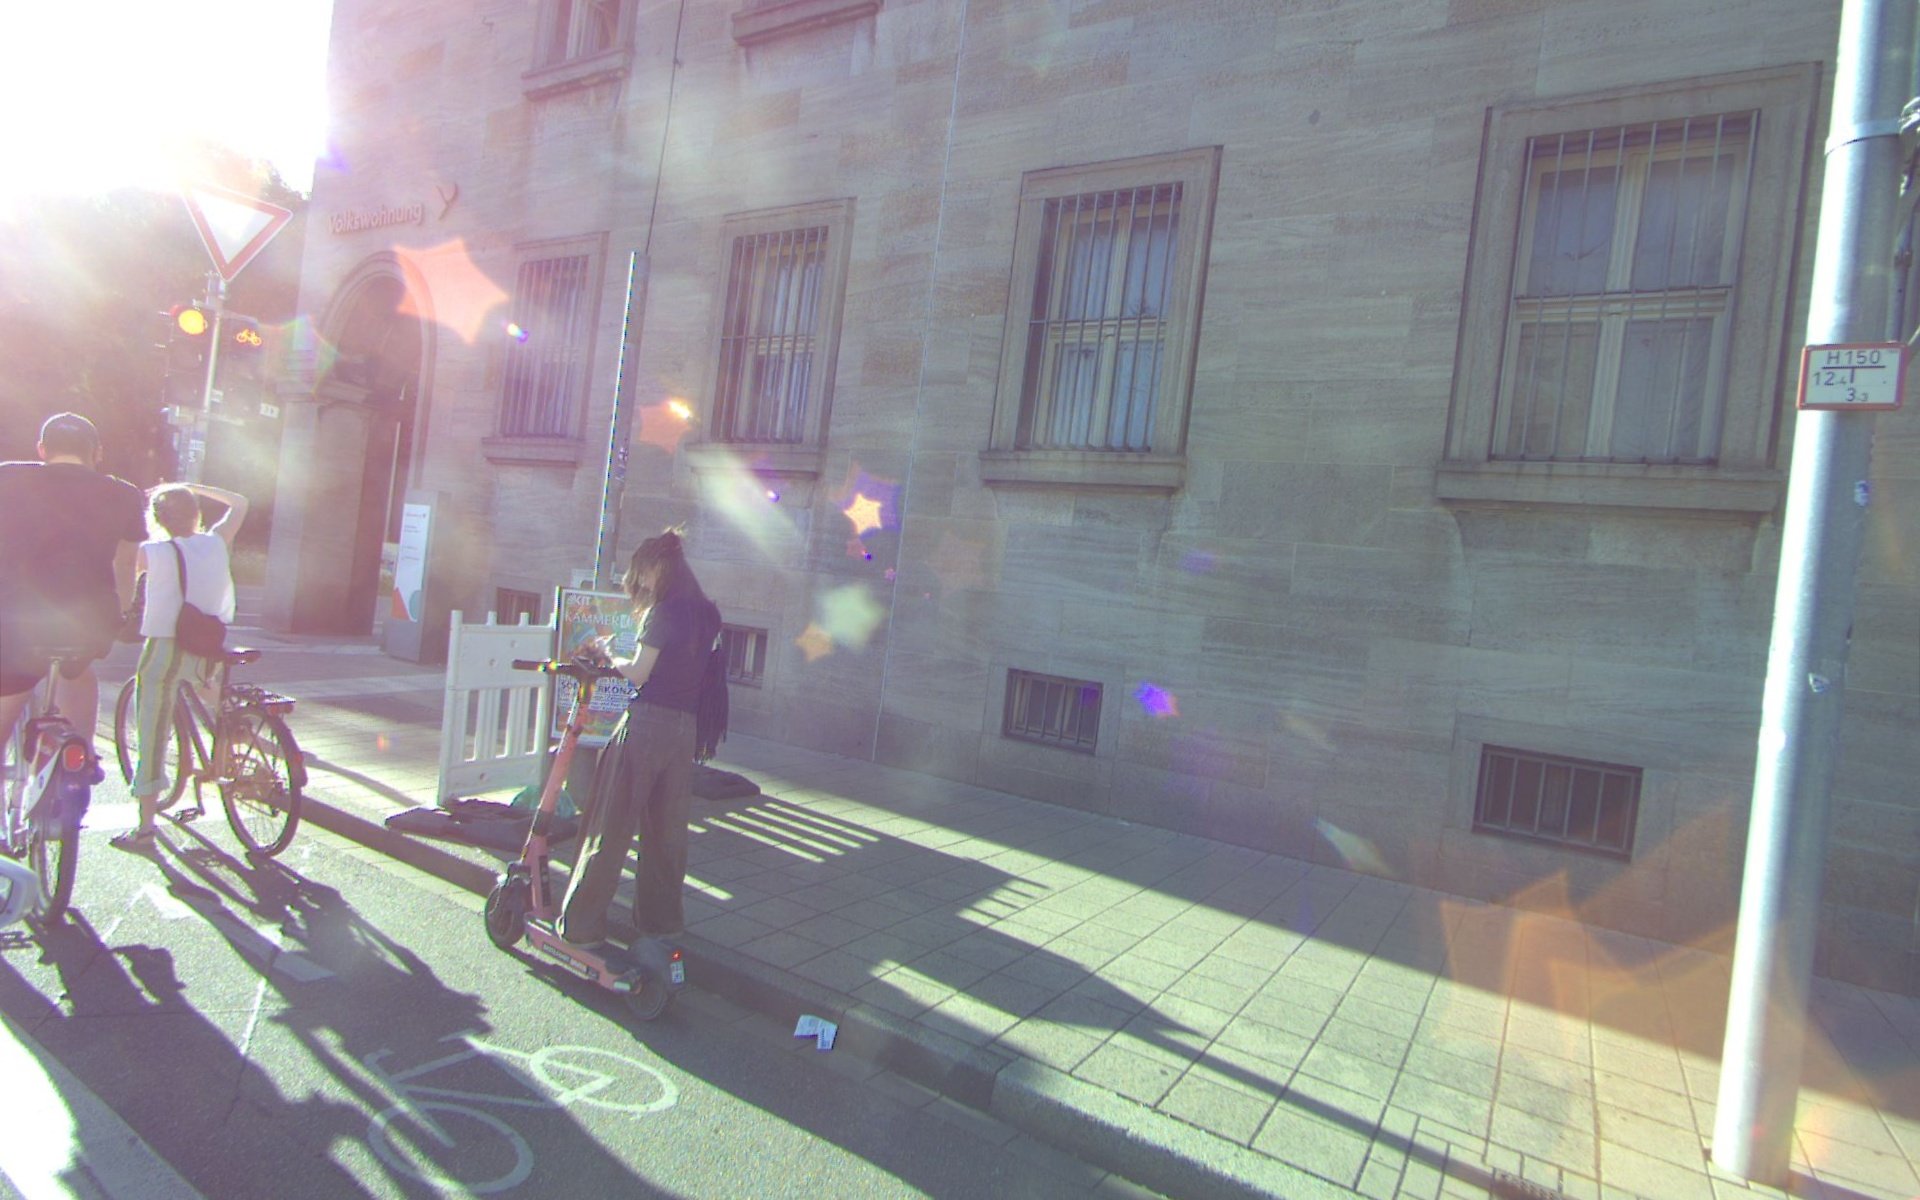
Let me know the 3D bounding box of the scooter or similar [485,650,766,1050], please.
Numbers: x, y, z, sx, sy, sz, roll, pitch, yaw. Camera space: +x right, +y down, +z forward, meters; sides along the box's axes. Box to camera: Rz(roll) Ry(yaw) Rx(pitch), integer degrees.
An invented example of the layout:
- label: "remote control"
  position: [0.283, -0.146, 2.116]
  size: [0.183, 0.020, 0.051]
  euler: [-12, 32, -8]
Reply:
- label: "scooter or similar"
  position: [-1.320, 0.831, 3.829]
  size: [0.569, 1.164, 1.260]
  euler: [5, 0, -37]

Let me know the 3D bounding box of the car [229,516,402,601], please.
- label: "car"
  position: [-20.276, -1.262, 31.804]
  size: [1.968, 2.037, 3.994]
  euler: [6, -2, 33]

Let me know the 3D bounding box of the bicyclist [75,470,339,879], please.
- label: "bicyclist"
  position: [-3.641, 0.315, 4.864]
  size: [0.934, 1.760, 0.584]
  euler: [7, 0, 32]

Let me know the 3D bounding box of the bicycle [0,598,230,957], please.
- label: "bicycle"
  position: [-3.720, 0.591, 3.988]
  size: [1.717, 1.057, 0.624]
  euler: [7, 0, 31]

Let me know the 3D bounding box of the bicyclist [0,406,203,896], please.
- label: "bicyclist"
  position: [-3.656, 0.170, 3.983]
  size: [0.897, 1.736, 0.624]
  euler: [7, 0, 31]

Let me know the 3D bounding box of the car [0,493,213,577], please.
- label: "car"
  position: [-23.477, -1.751, 27.348]
  size: [1.967, 1.533, 4.586]
  euler: [6, -2, 32]

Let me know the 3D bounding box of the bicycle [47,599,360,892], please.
- label: "bicycle"
  position: [-3.709, 0.629, 4.885]
  size: [1.718, 1.057, 0.582]
  euler: [7, 0, 33]

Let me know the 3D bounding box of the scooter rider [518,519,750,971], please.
- label: "scooter rider"
  position: [-1.267, 0.521, 3.886]
  size: [0.541, 1.581, 0.571]
  euler: [7, 0, -35]
